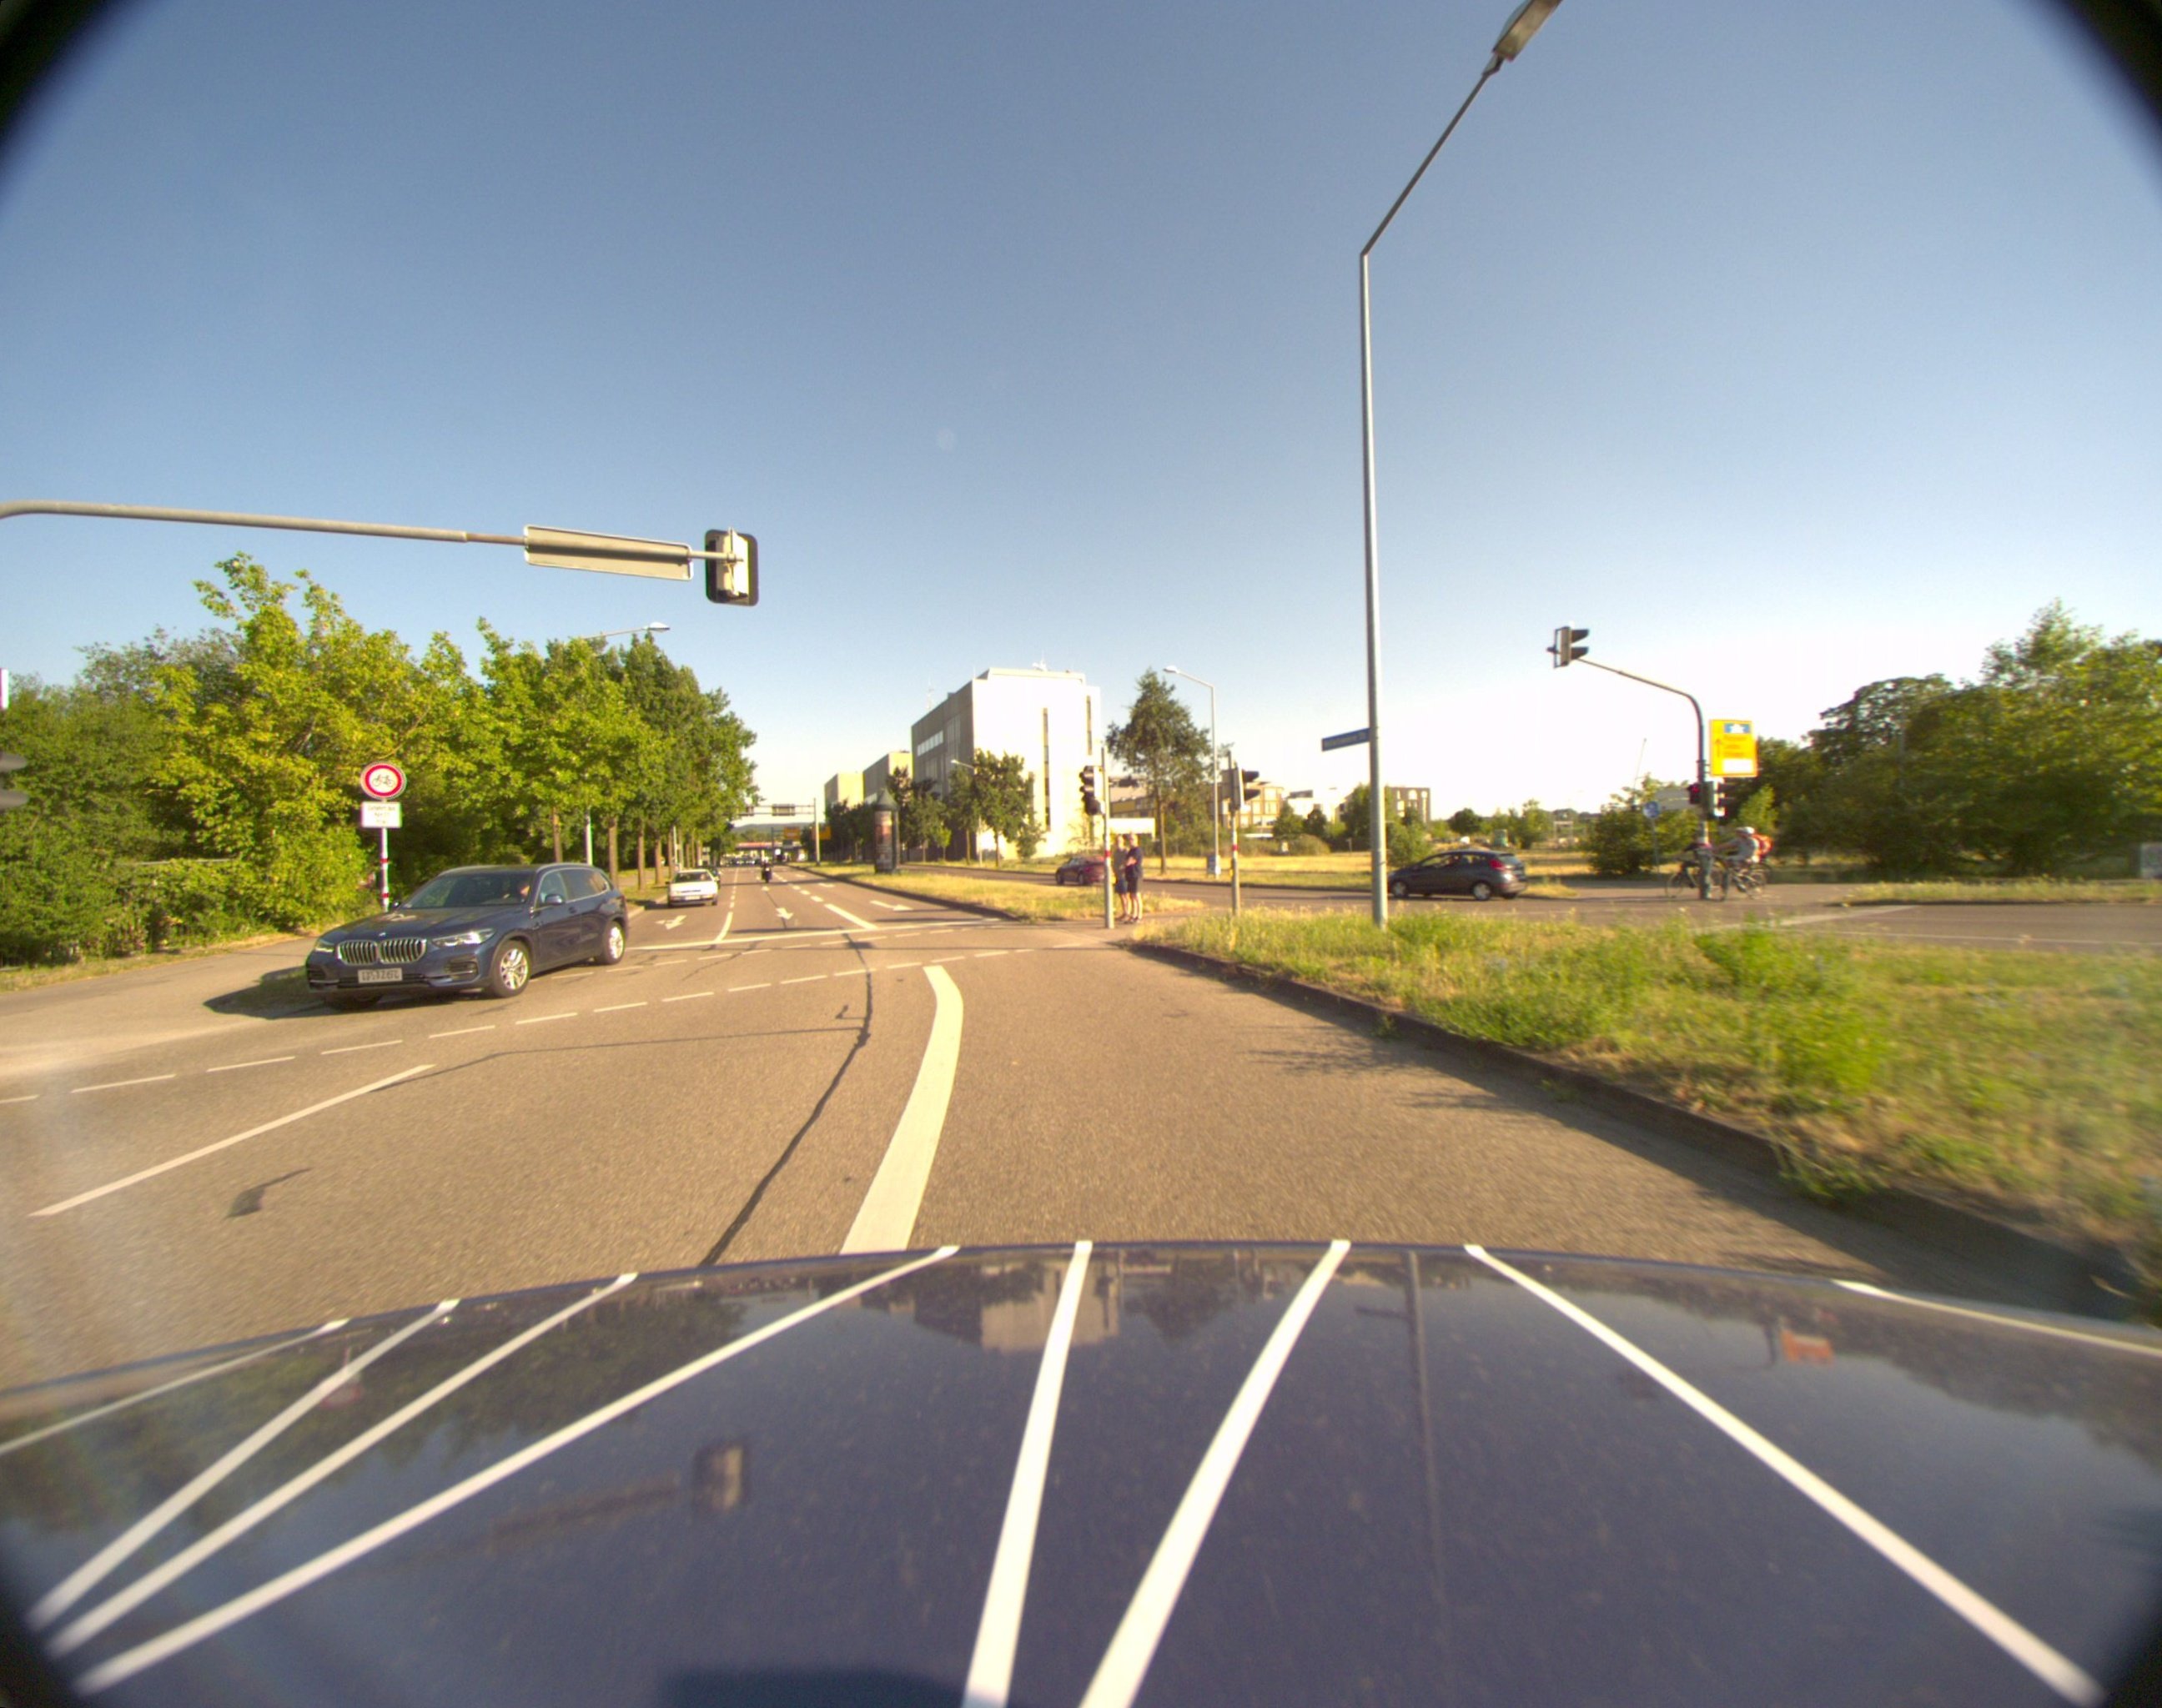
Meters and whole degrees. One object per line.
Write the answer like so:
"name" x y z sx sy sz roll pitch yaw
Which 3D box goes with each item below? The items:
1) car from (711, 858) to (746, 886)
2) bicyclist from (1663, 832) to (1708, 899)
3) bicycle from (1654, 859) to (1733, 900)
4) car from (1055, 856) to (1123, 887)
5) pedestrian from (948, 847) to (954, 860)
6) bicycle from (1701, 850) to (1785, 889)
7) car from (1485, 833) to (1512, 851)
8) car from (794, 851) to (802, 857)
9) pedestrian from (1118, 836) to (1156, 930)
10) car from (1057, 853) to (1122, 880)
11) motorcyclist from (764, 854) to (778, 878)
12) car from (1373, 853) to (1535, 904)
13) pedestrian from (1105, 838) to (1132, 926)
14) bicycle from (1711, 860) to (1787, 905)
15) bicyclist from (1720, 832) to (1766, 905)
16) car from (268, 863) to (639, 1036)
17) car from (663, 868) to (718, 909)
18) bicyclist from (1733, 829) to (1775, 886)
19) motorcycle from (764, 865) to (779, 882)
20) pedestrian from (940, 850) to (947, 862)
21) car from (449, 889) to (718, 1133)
"car" -21.092 1.047 45.447 1.729 1.491 4.205 -4 1 -25
"bicyclist" 16.378 0.299 20.590 0.815 1.761 0.496 -3 2 -9
"bicycle" 16.642 0.681 20.643 1.914 1.014 0.504 -3 2 -8
"car" 0.304 0.785 35.511 1.674 1.368 4.141 -1 0 -22
"pedestrian" -18.418 -0.125 107.383 0.635 1.831 0.715 -2 1 -23
"bicycle" 19.728 0.458 22.690 1.818 1.112 0.727 -1 1 32
"car" 47.005 -1.356 85.502 1.994 2.002 3.888 -1 1 38
"car" -69.308 -0.022 185.959 1.569 1.566 3.405 -2 1 -26
"pedestrian" 1.117 0.570 15.256 0.488 1.833 0.671 -2 1 -21
"car" 0.452 0.671 42.460 1.676 1.433 3.606 -1 0 -40
"motorcyclist" -20.317 0.785 49.763 0.736 1.503 0.917 -2 1 -25
"car" 10.896 0.673 22.435 1.676 1.368 3.940 -1 0 -37
"pedestrian" 0.790 0.588 16.141 0.487 1.832 0.719 -1 -2 -3
"bicycle" 17.016 0.708 19.352 1.916 1.014 0.503 -3 2 -17
"bicyclist" 16.801 0.363 19.280 0.816 1.779 0.495 -3 2 -16
"car" -8.488 1.109 11.023 1.961 1.717 4.694 -3 2 -9
"car" -15.096 1.303 29.545 1.618 1.390 4.031 -3 0 -24
"bicyclist" 19.951 0.107 22.548 0.829 1.656 0.711 -1 1 32
"motorcycle" -20.219 1.260 49.594 0.750 0.977 2.136 -2 1 -25
"pedestrian" -19.539 0.303 107.686 0.779 1.592 0.907 -2 1 -23
"car" -4.766 1.282 7.869 1.609 1.601 3.992 -2 1 -23
